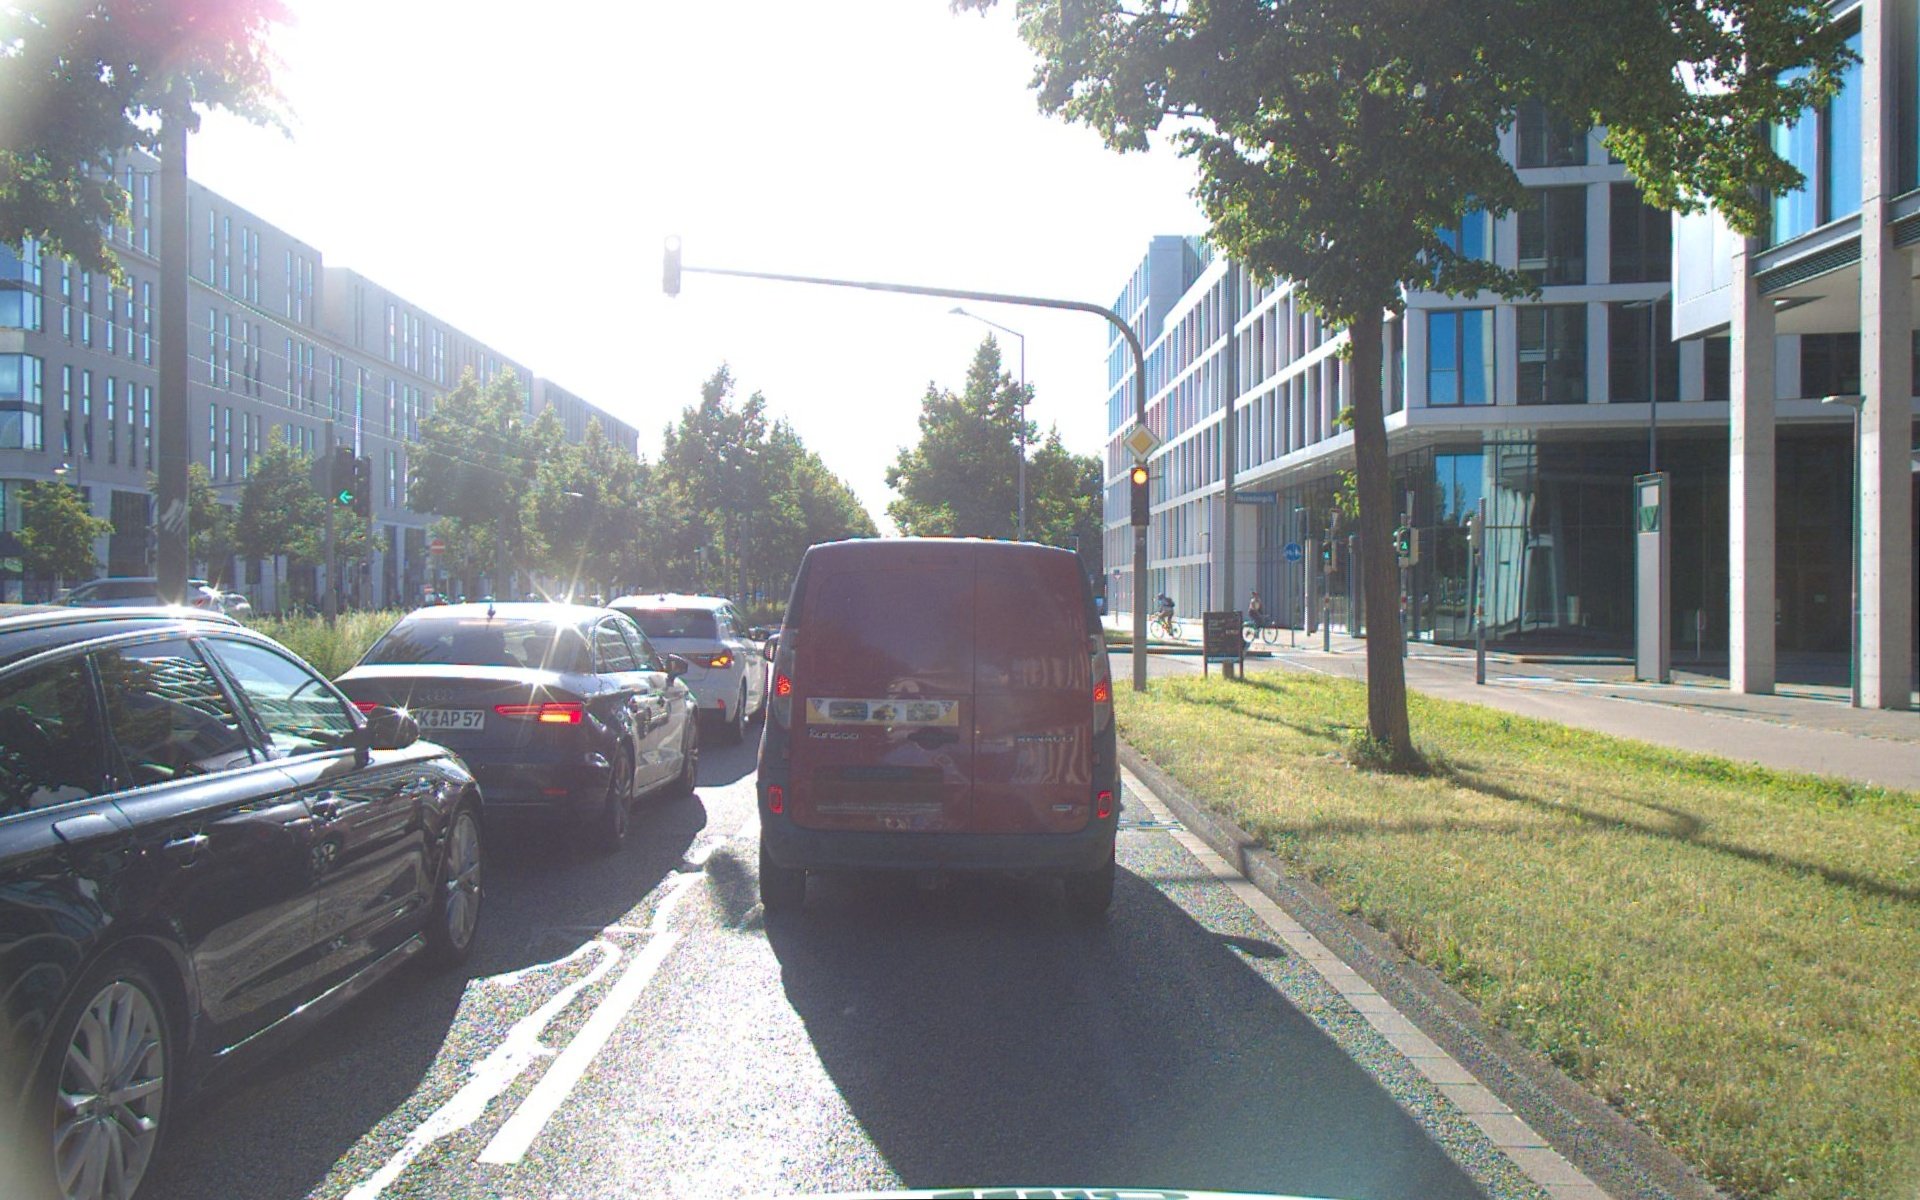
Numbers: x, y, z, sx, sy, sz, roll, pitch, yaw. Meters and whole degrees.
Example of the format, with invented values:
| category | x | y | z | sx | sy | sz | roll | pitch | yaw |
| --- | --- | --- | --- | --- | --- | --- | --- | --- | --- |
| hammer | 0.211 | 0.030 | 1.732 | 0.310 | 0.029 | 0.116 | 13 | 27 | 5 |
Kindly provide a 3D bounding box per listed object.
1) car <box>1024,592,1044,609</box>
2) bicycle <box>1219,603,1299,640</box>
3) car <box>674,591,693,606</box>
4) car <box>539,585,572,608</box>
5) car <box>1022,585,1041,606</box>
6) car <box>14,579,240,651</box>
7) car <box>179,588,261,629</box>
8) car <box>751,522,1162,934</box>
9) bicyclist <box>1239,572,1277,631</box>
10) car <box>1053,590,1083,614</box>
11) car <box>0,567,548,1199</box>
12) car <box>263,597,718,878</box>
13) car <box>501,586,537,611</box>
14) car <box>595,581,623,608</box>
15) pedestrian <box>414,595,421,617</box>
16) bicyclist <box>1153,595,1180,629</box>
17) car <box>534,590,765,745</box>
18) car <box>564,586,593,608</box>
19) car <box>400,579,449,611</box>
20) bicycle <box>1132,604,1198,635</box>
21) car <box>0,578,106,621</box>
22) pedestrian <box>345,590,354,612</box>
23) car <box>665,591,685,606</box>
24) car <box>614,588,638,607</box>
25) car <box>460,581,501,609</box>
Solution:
| category | x | y | z | sx | sy | sz | roll | pitch | yaw |
| --- | --- | --- | --- | --- | --- | --- | --- | --- | --- |
| car | 8.067 | 0.064 | 179.934 | 1.953 | 1.813 | 3.999 | 0 | 0 | -1 |
| bicycle | 10.122 | 0.704 | 56.106 | 0.809 | 1.211 | 2.914 | 0 | 0 | -36 |
| car | -37.168 | -0.194 | 222.299 | 1.953 | 2.049 | 3.999 | 0 | 0 | -1 |
| car | -36.365 | -0.346 | 148.770 | 1.953 | 2.049 | 3.999 | 0 | 0 | -1 |
| car | 8.580 | -0.520 | 198.461 | 1.953 | 2.540 | 4.986 | 0 | 0 | -1 |
| car | -18.020 | 0.314 | 35.944 | 4.129 | 1.518 | 1.515 | 0 | 0 | -13 |
| car | -34.741 | 0.369 | 77.769 | 1.953 | 1.845 | 4.369 | 0 | 0 | -1 |
| car | -0.043 | 0.556 | 9.296 | 1.804 | 1.812 | 3.999 | 0 | 0 | -1 |
| bicyclist | 10.108 | 0.055 | 56.122 | 0.809 | 1.981 | 0.989 | 0 | 0 | -36 |
| car | 8.331 | 0.147 | 127.948 | 1.953 | 1.813 | 3.999 | 0 | 0 | -1 |
| car | -2.743 | 0.683 | 5.135 | 1.836 | 1.510 | 4.965 | 0 | 0 | -2 |
| car | -2.784 | 0.720 | 10.866 | 1.804 | 1.451 | 4.338 | 0 | 0 | -1 |
| car | -36.244 | -0.150 | 135.943 | 1.953 | 2.049 | 3.999 | 0 | 0 | -1 |
| car | -35.600 | -0.567 | 167.813 | 1.953 | 2.653 | 3.999 | 0 | 0 | -1 |
| pedestrian | -44.473 | 0.472 | 135.613 | 0.458 | 1.775 | 0.479 | 0 | 0 | -1 |
| bicyclist | 7.941 | 0.449 | 63.528 | 0.812 | 1.297 | 0.674 | 0 | 0 | -37 |
| car | -3.150 | 0.625 | 17.516 | 1.767 | 1.451 | 3.900 | 0 | 0 | -1 |
| car | -36.383 | -0.324 | 157.870 | 1.953 | 2.049 | 3.999 | 0 | 0 | -1 |
| car | -35.281 | -0.317 | 109.107 | 1.953 | 2.049 | 3.999 | 0 | 0 | -1 |
| bicycle | 7.868 | 0.732 | 63.638 | 0.812 | 1.134 | 2.808 | 0 | 0 | -37 |
| car | -33.194 | -0.034 | 60.649 | 1.729 | 1.546 | 3.999 | 0 | 0 | -1 |
| pedestrian | -41.951 | 0.067 | 113.625 | 0.452 | 1.463 | 0.389 | 0 | 0 | 3 |
| car | -37.355 | -0.216 | 216.672 | 1.953 | 2.049 | 3.999 | 0 | 0 | -1 |
| car | -36.718 | -0.277 | 181.850 | 1.953 | 2.049 | 3.999 | 0 | 0 | -1 |
| car | -35.832 | -0.387 | 123.637 | 1.953 | 2.049 | 3.999 | 0 | 0 | -1 |
